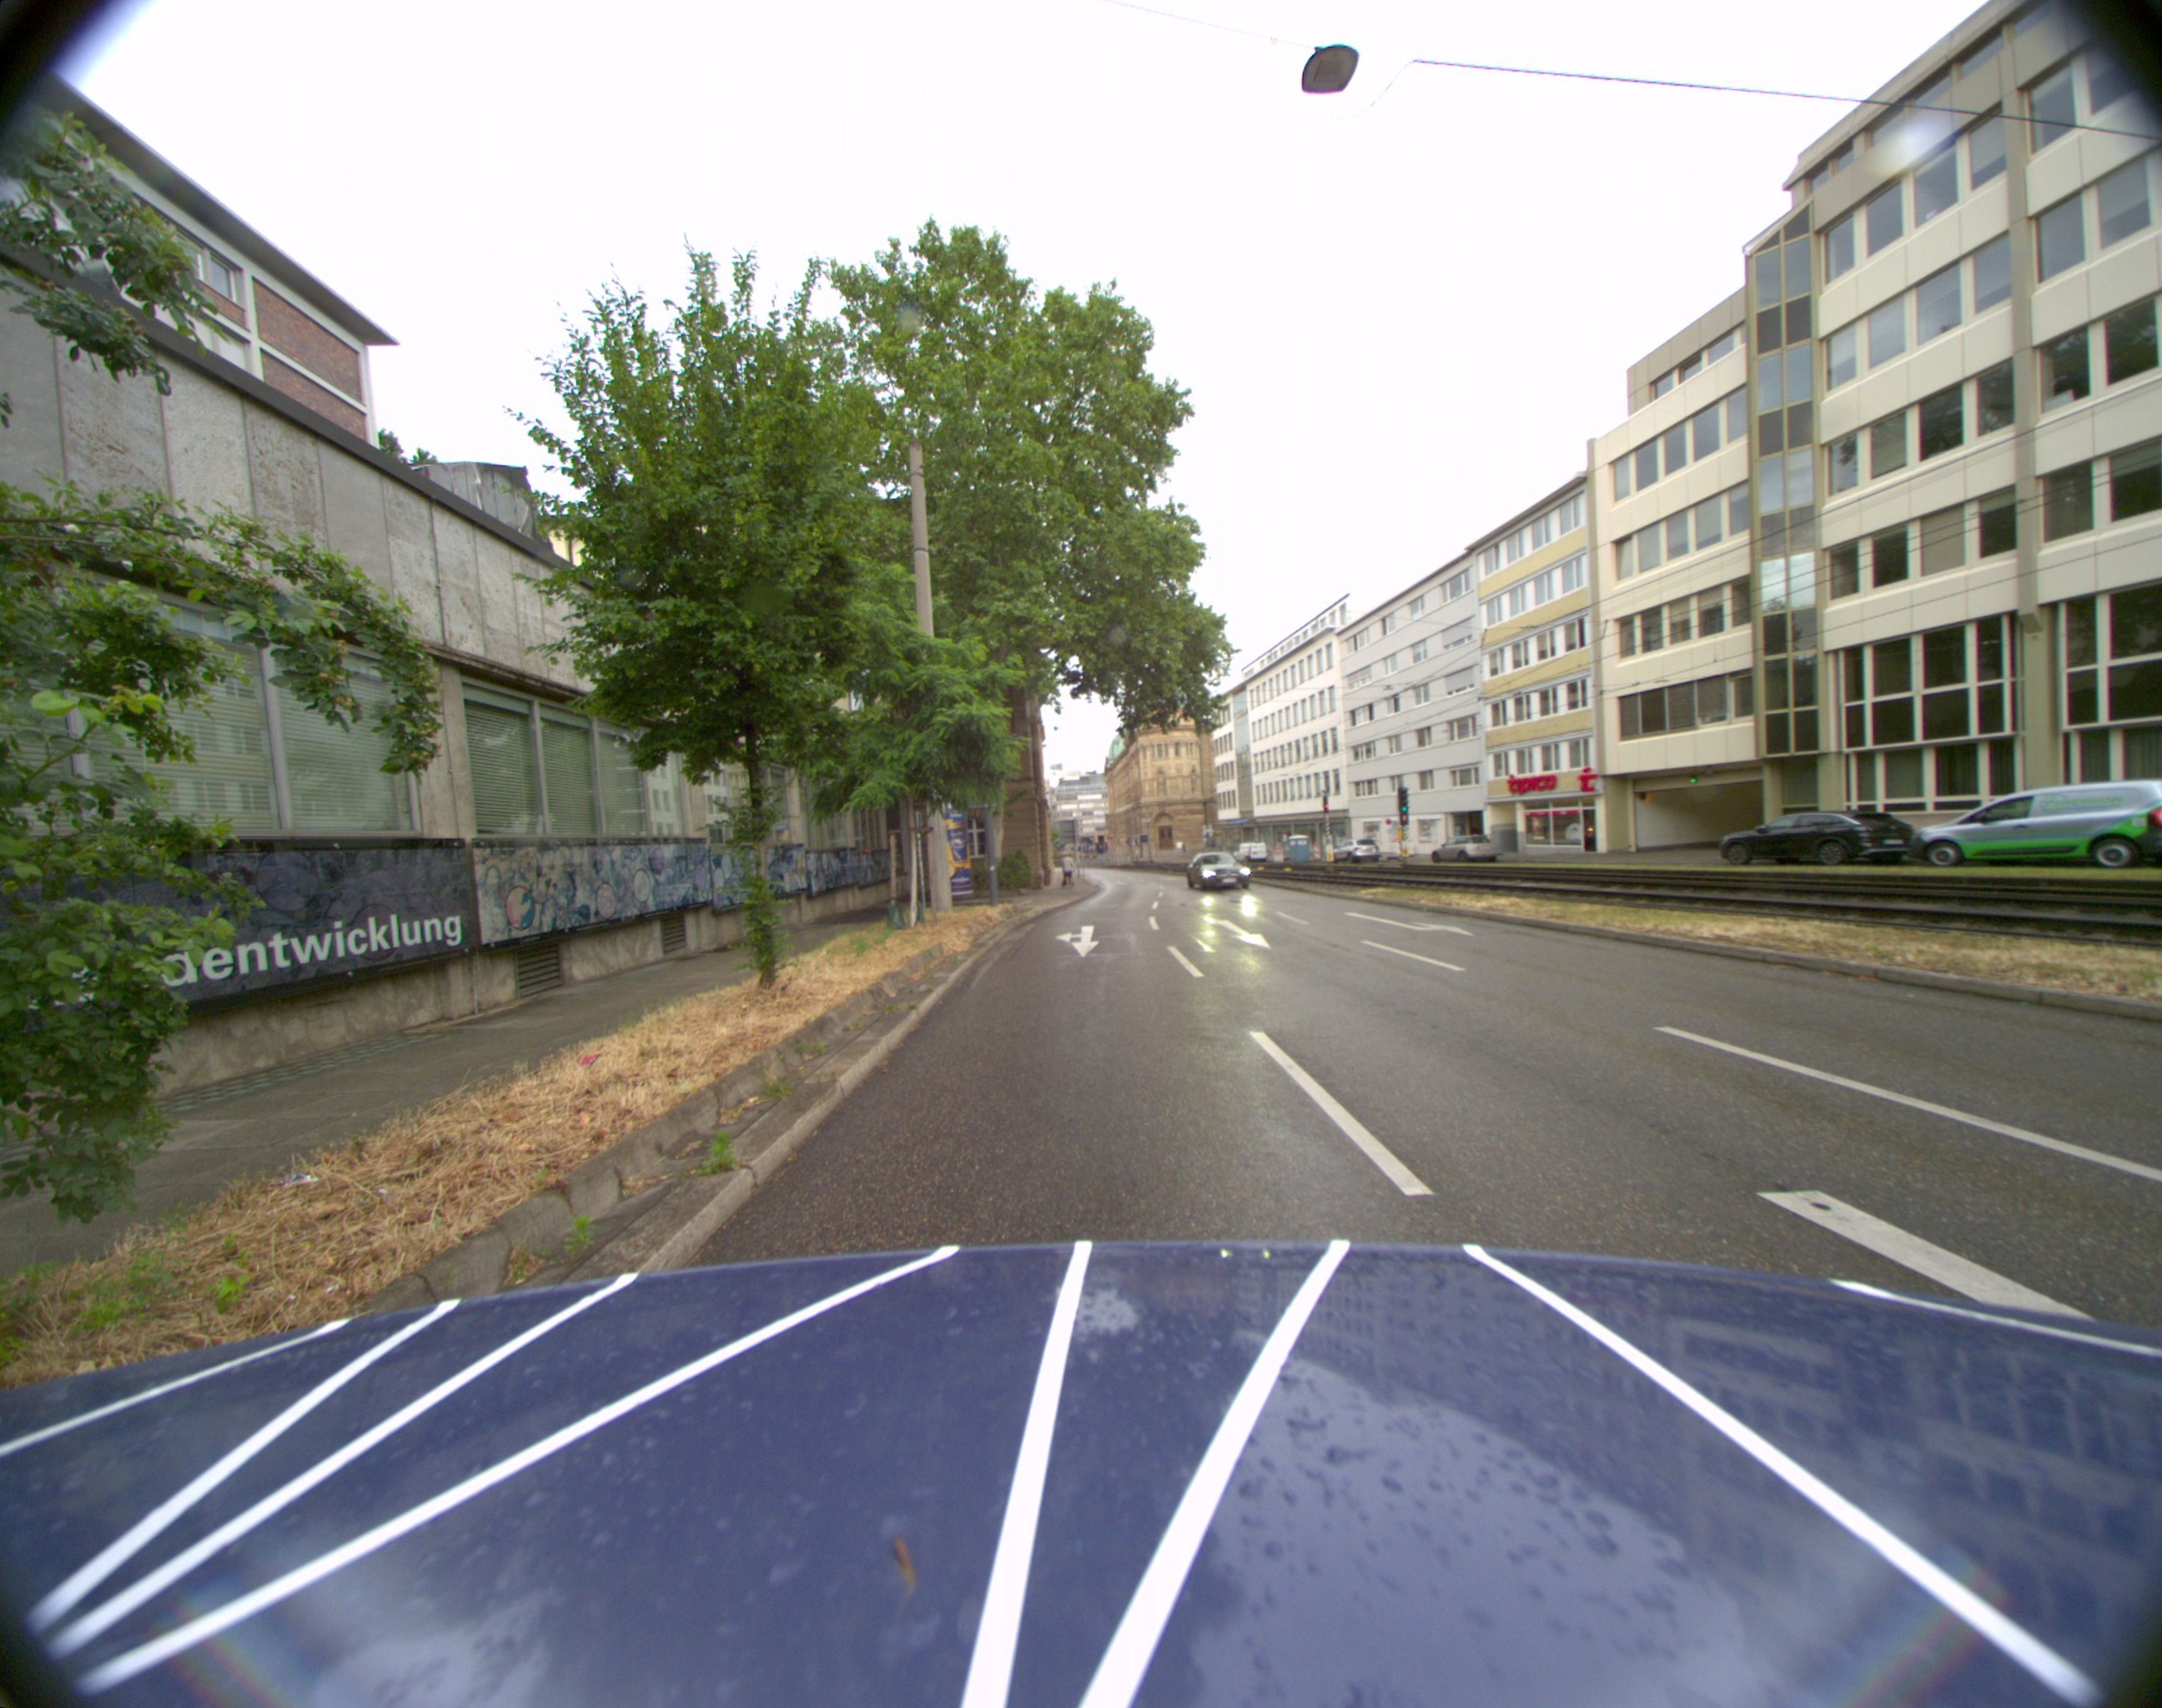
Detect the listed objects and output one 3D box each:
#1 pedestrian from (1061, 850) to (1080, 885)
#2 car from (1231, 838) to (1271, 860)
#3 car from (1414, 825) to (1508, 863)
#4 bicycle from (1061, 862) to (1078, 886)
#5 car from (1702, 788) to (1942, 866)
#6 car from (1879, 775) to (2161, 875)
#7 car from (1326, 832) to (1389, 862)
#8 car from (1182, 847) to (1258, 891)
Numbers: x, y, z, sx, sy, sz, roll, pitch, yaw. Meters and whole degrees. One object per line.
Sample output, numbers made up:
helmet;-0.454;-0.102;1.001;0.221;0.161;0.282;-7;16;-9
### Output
pedestrian;-0.497;0.663;37.724;0.719;1.732;1.020;-1;1;11
car;16.383;-0.530;73.353;1.999;1.832;5.127;-6;2;-7
car;19.454;-0.548;39.155;1.999;1.664;4.691;-6;2;-7
bicycle;-0.578;1.011;38.792;0.620;1.213;0.911;-2;1;12
car;21.095;-0.746;21.981;1.999;1.840;4.691;-6;2;-7
car;21.513;-0.651;17.019;1.999;1.840;4.691;-6;2;-7
car;18.329;-0.426;50.623;1.999;1.664;4.693;-6;0;-4
car;5.418;0.560;30.302;1.999;1.458;4.642;-5;0;-1
